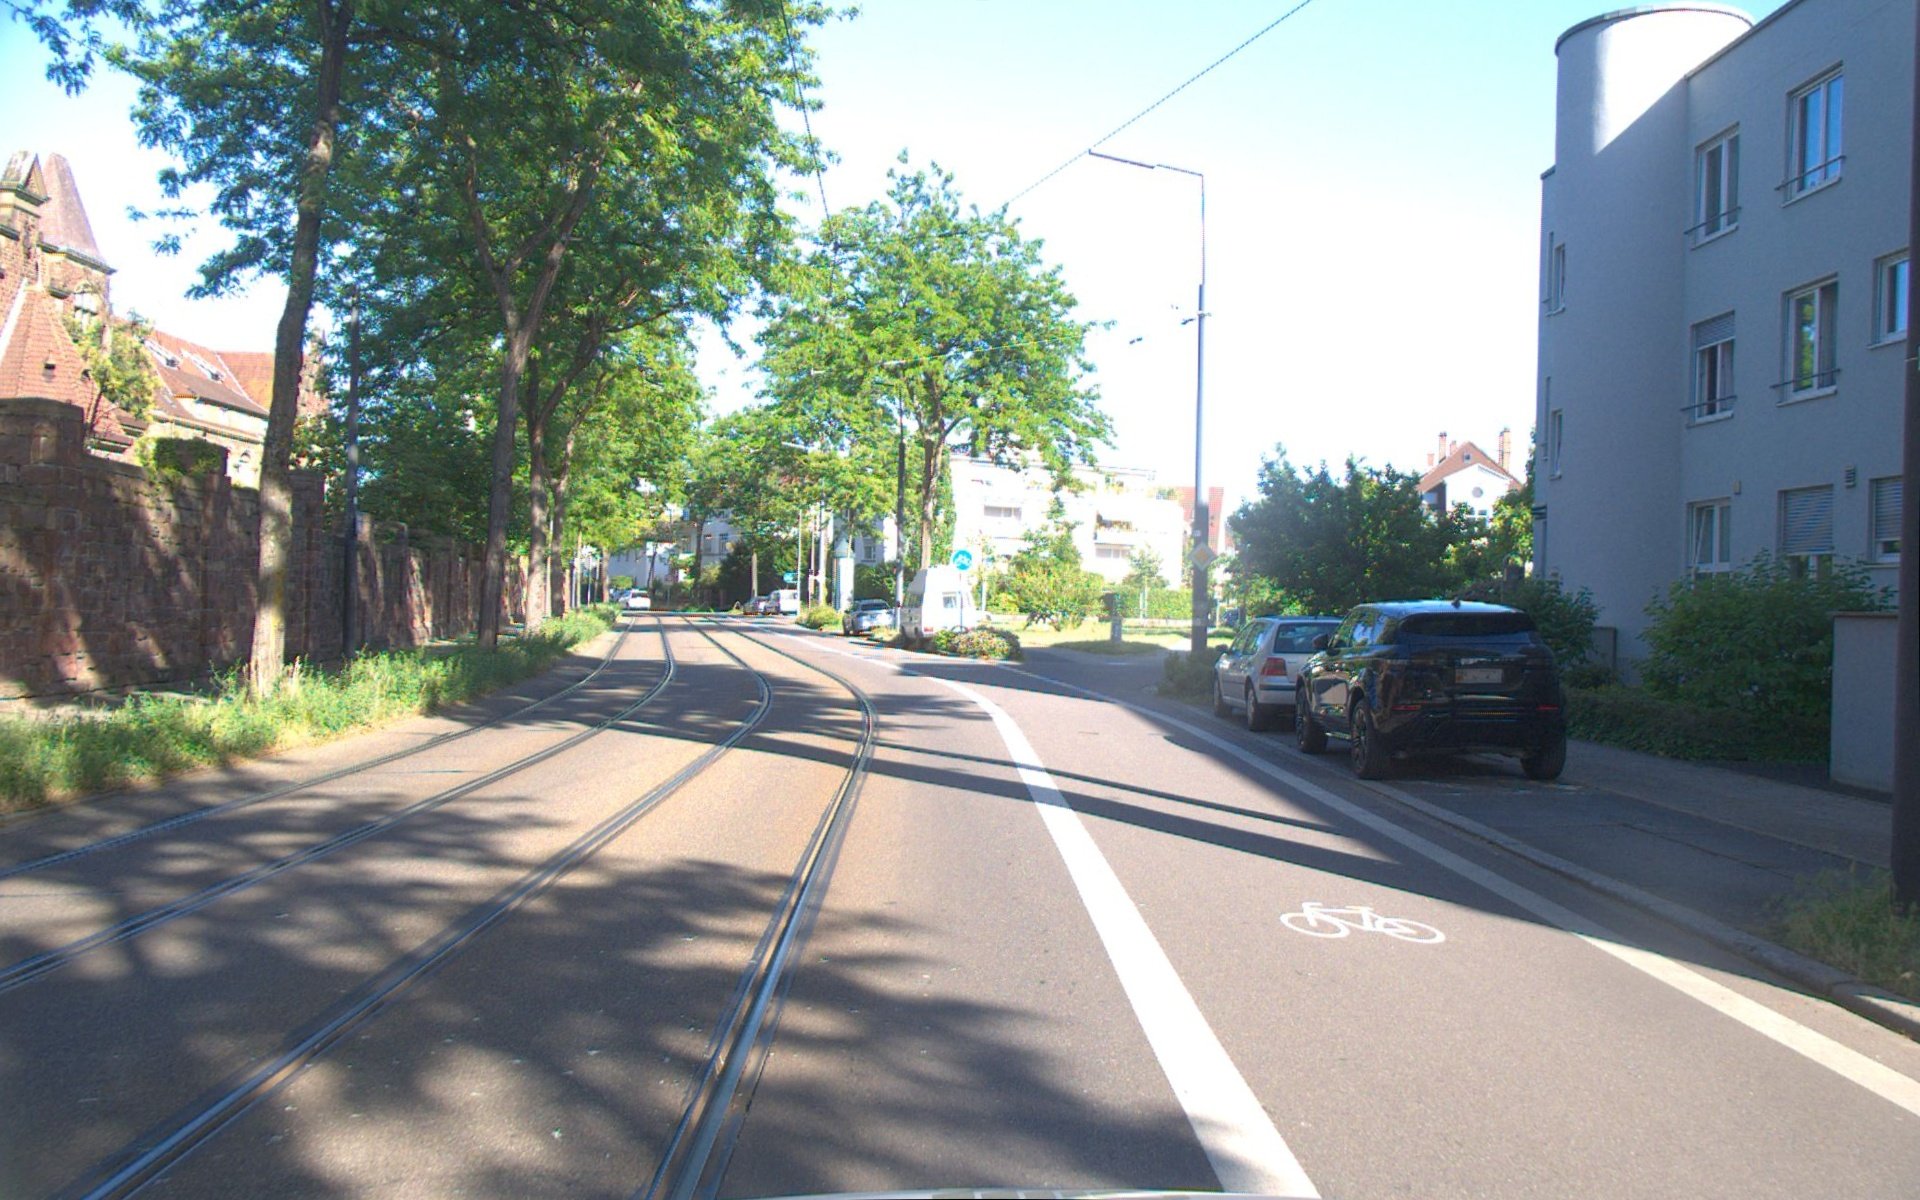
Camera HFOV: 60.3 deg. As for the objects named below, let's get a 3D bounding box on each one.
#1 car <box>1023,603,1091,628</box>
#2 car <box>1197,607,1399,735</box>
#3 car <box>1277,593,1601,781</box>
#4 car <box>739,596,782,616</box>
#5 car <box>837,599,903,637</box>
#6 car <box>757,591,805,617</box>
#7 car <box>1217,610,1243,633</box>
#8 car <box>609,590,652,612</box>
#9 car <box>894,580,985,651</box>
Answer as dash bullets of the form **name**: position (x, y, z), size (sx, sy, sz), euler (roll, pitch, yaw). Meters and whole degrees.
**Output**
- **car**: position (6.477, 1.024, 110.302), size (4.222, 1.537, 1.827), euler (2, -3, -23)
- **car**: position (4.489, 0.888, 22.632), size (1.703, 1.522, 4.528), euler (2, 0, -1)
- **car**: position (4.671, 0.786, 16.888), size (1.953, 1.644, 4.600), euler (0, 0, 0)
- **car**: position (-15.193, 0.434, 125.671), size (1.969, 1.448, 4.295), euler (1, -1, -26)
- **car**: position (-3.888, 0.748, 70.698), size (1.966, 1.491, 5.416), euler (-2, 0, -12)
- **car**: position (-13.042, 0.255, 120.104), size (1.997, 1.777, 4.713), euler (1, 0, -26)
- **car**: position (22.023, 1.763, 134.733), size (2.001, 1.738, 4.291), euler (1, 0, 11)
- **car**: position (-27.338, 0.082, 137.262), size (1.878, 1.639, 4.173), euler (2, -2, -36)
- **car**: position (-0.714, 0.455, 52.696), size (1.959, 2.132, 4.702), euler (1, 0, -12)
